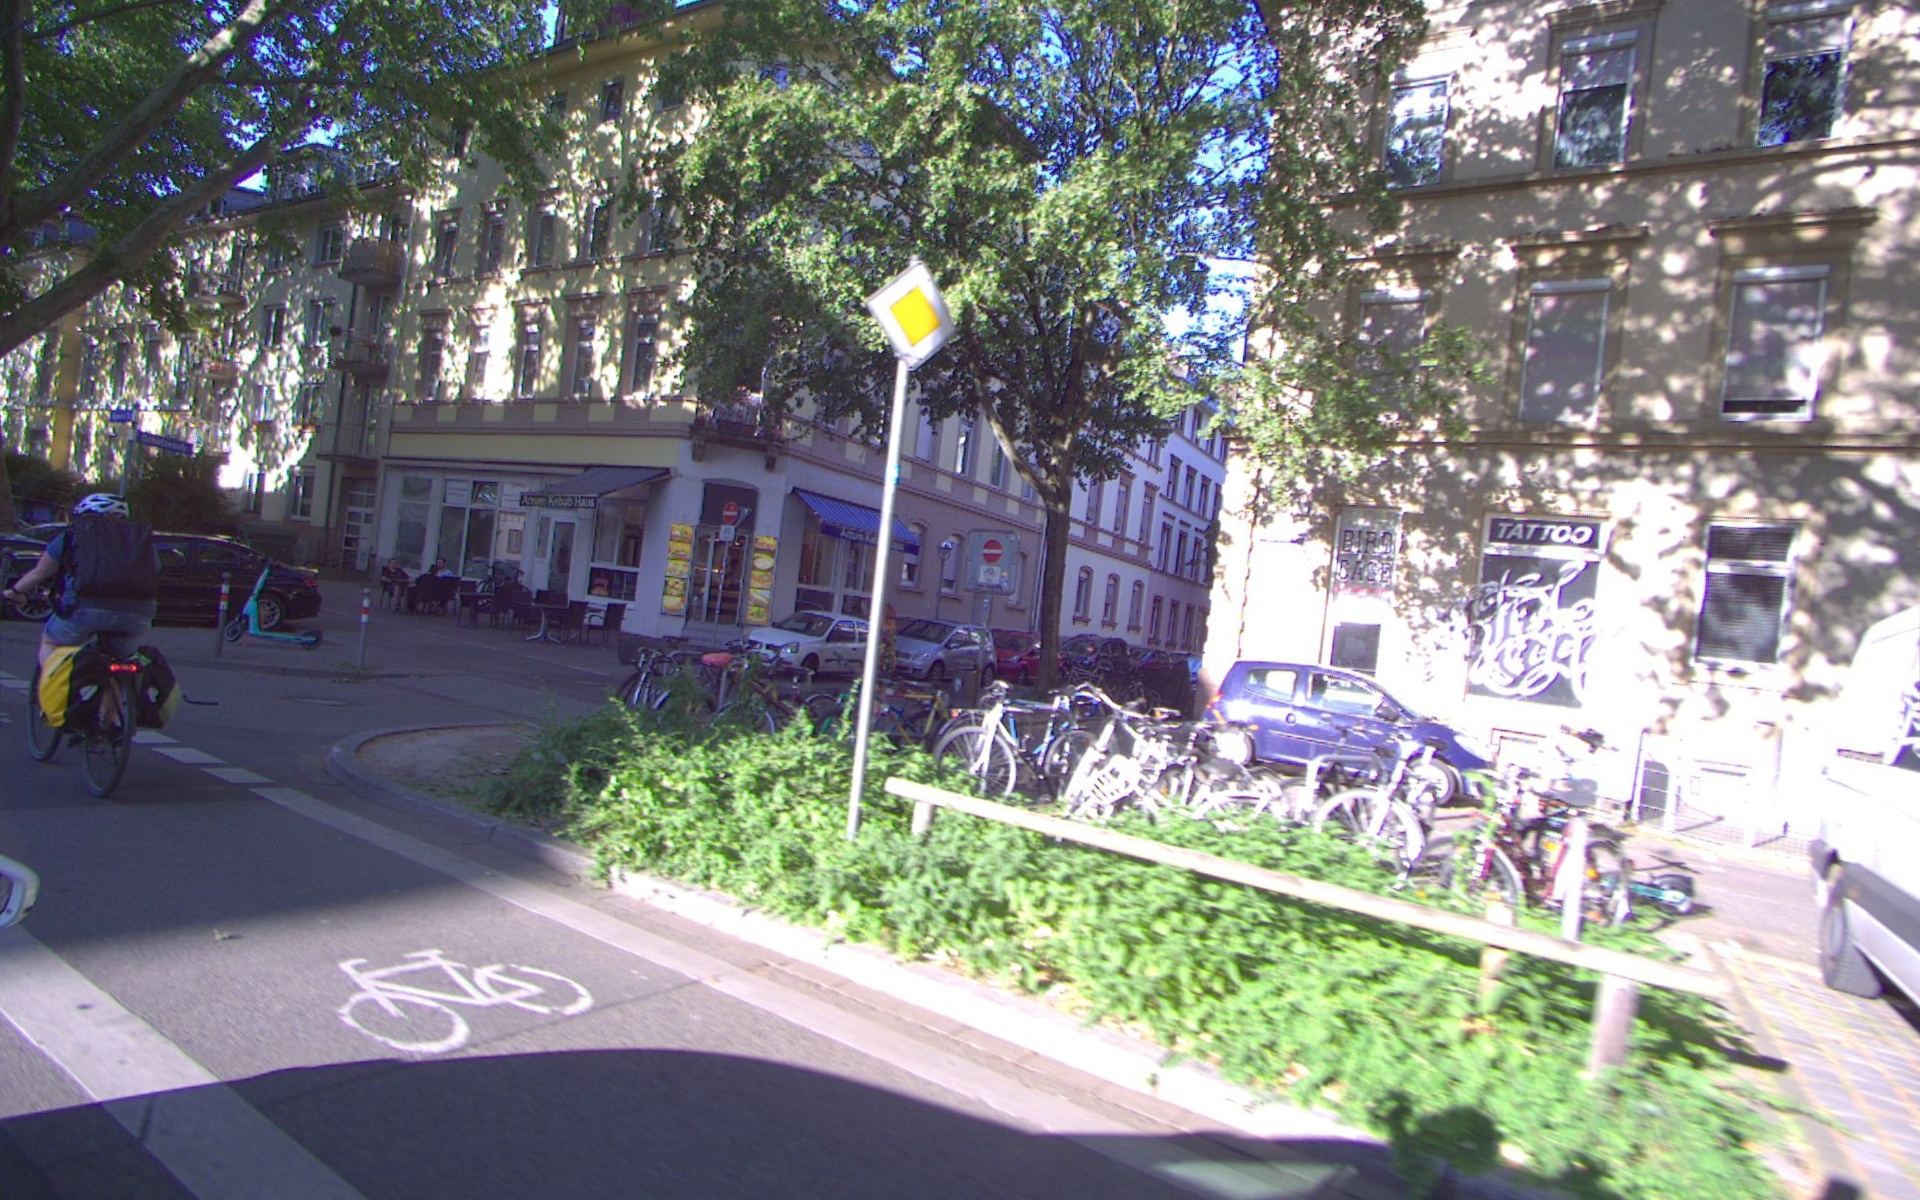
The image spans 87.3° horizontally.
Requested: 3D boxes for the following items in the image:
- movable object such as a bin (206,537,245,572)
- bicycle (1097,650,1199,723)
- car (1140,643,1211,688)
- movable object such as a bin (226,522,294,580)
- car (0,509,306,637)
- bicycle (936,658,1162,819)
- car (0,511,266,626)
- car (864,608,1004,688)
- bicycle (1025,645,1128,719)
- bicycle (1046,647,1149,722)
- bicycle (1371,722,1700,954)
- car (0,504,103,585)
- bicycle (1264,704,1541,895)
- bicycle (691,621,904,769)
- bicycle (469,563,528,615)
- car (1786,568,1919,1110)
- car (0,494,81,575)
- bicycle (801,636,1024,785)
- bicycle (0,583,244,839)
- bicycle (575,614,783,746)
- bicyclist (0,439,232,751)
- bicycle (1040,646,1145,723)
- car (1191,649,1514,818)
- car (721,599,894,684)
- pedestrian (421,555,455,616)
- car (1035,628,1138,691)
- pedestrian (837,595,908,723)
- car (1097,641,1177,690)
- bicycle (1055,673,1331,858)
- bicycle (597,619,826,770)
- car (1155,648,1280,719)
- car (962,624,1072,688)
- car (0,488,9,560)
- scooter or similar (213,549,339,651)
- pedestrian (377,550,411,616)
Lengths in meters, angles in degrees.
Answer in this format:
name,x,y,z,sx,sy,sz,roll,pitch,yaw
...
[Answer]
name,x,y,z,sx,sy,sz,roll,pitch,yaw
movable object such as a bin,-21.717,-1.346,29.757,0.458,0.955,0.748,7,1,32
bicycle,3.980,1.824,21.385,1.975,1.332,0.523,4,-3,32
car,9.076,2.775,42.203,1.627,1.508,3.412,9,0,33
movable object such as a bin,-20.081,-1.402,28.872,1.099,1.456,1.168,7,1,32
car,-12.731,-0.395,15.397,1.800,1.509,4.104,7,-1,30
bicycle,0.797,1.179,8.432,2.032,1.192,0.409,8,-1,-37
car,-14.578,-0.537,17.165,1.656,1.509,4.097,7,-1,36
car,-0.587,1.284,25.825,1.663,1.636,3.682,9,0,31
bicycle,2.471,1.732,21.433,2.010,1.301,0.507,6,-1,27
bicycle,2.727,1.661,19.933,1.871,1.301,0.508,5,-1,13
bicycle,3.430,1.422,5.945,2.020,1.192,0.411,7,-1,-21
car,-20.312,-1.290,20.422,1.653,1.498,4.033,7,0,31
bicycle,3.204,1.450,7.224,2.020,1.192,0.411,7,-1,-21
bicycle,-1.422,0.892,9.208,0.407,1.192,2.040,6,-2,40
bicycle,-12.042,-0.292,26.249,1.717,1.171,0.470,8,2,33
car,5.216,1.052,4.108,1.974,2.310,5.997,8,0,34
car,-22.277,-1.621,22.129,1.653,1.663,4.033,7,0,30
bicycle,-0.377,1.031,9.086,2.032,1.192,0.409,8,-1,-37
bicycle,-4.972,0.526,5.610,2.470,1.015,0.596,7,-3,33
bicycle,-2.776,0.844,10.165,0.407,1.192,2.040,6,-2,40
bicyclist,-4.761,-0.032,5.598,0.920,1.567,0.616,7,-5,32
bicycle,2.537,1.610,19.289,1.871,1.270,0.508,5,-1,11
car,5.007,1.624,12.905,3.509,1.472,1.737,7,-2,29
car,-3.178,0.941,21.685,1.662,1.428,3.685,9,0,28
pedestrian,-12.124,-0.328,23.391,0.480,1.344,0.683,7,0,-21
car,4.327,2.043,33.851,1.627,1.678,4.136,9,0,33
pedestrian,-1.209,0.817,14.008,0.695,1.671,0.594,6,0,6
car,6.741,2.502,38.093,1.627,1.508,3.412,9,0,33
bicycle,1.767,1.253,7.524,2.020,1.192,0.411,7,-1,-21
bicycle,-2.168,0.871,9.058,0.407,1.192,2.040,6,-2,40
car,6.995,2.266,27.077,1.826,1.617,3.988,3,-3,36
car,1.740,1.707,29.876,1.627,1.508,3.412,9,0,33
car,-25.111,-2.015,23.181,1.818,1.741,4.265,7,1,30
scooter or similar,-9.498,0.018,13.997,1.303,1.271,0.337,8,0,-45
pedestrian,-12.693,-0.396,22.581,0.480,1.392,1.049,7,0,-27
